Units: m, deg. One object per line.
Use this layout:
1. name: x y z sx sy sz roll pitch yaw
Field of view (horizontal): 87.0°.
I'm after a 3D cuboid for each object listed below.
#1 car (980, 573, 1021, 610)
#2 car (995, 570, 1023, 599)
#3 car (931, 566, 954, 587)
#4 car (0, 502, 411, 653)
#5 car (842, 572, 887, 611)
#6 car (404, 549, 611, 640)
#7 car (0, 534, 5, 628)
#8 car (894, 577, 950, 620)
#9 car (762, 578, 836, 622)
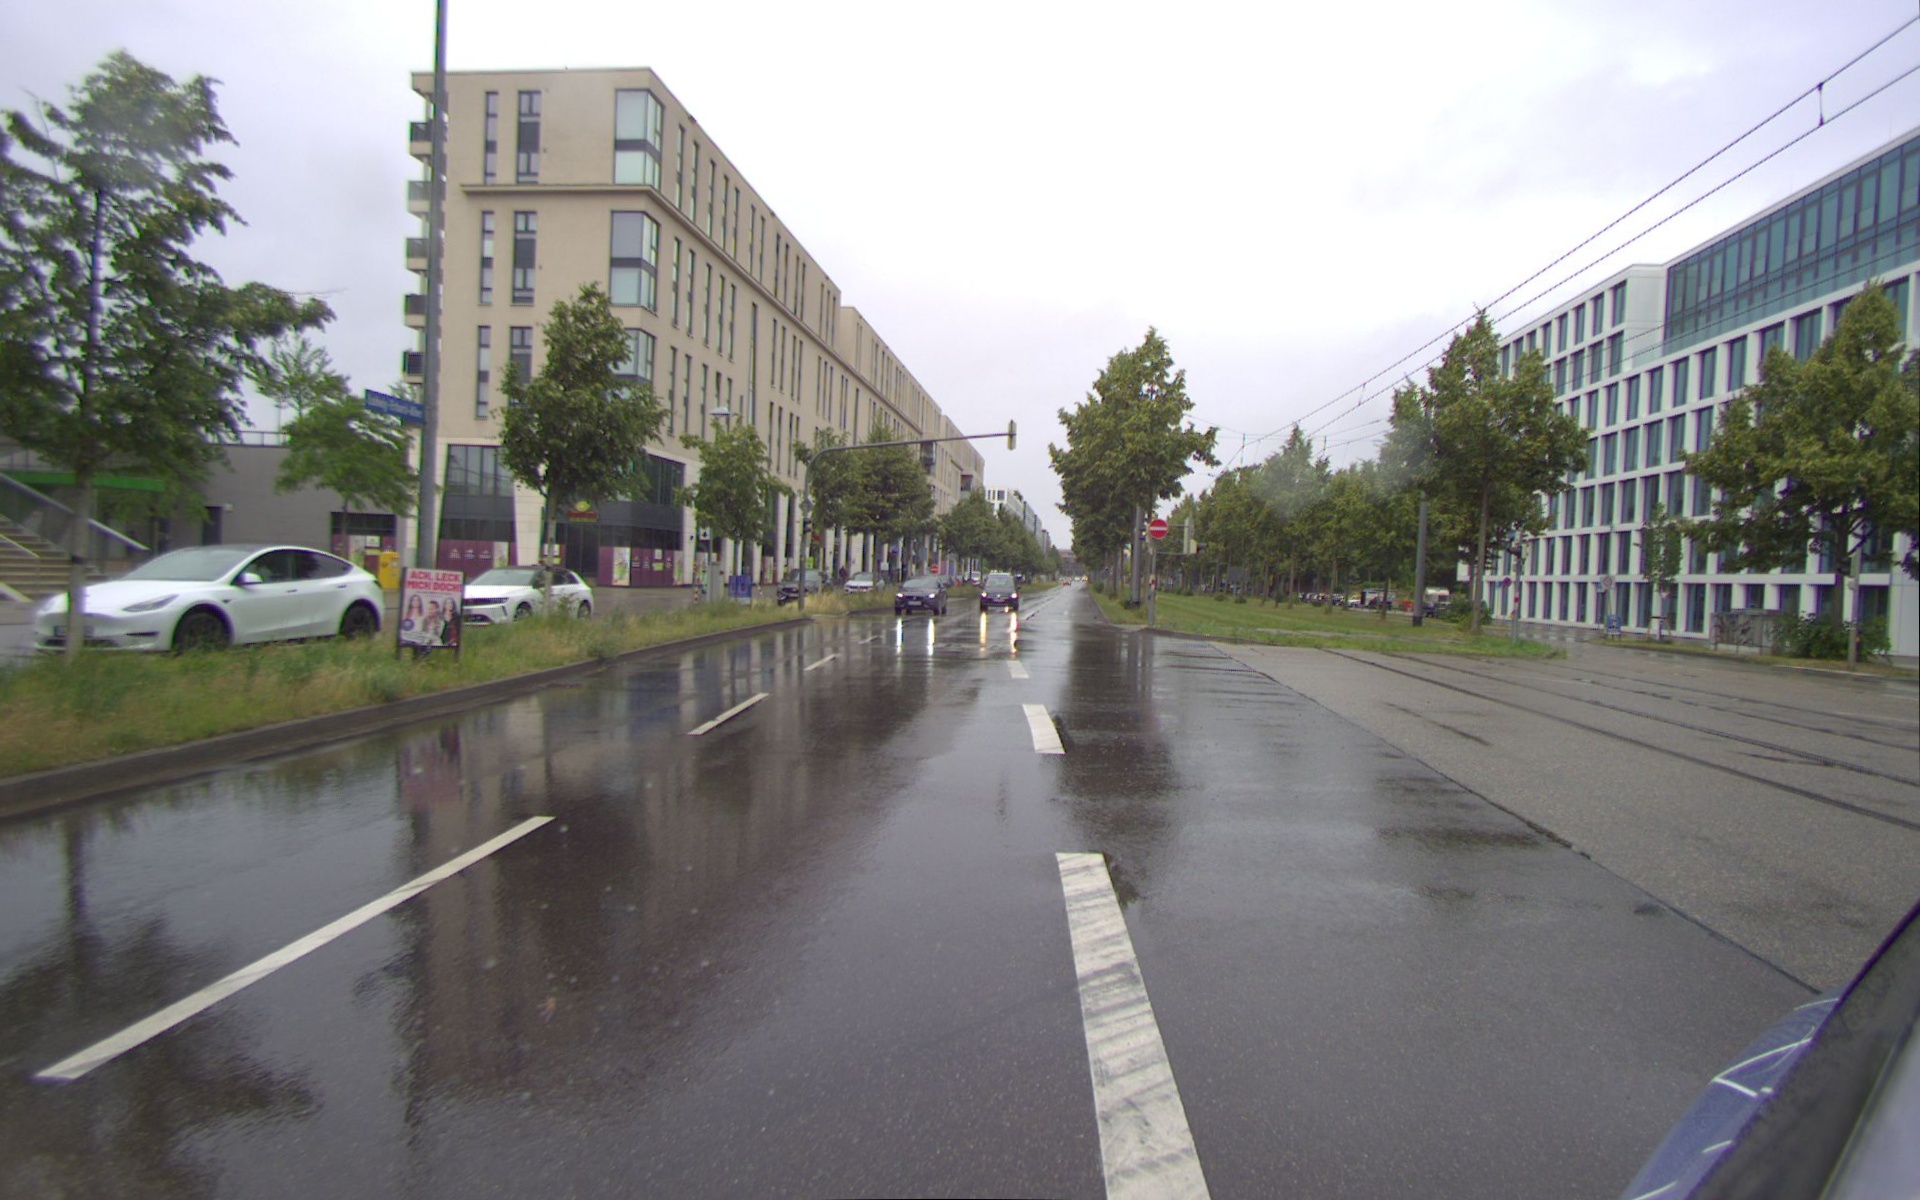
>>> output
1. car: 1.911 -0.350 46.642 1.629 1.549 3.769 3 0 6
2. car: 3.716 -1.133 76.218 1.729 1.950 3.991 3 0 7
3. car: -1.457 -2.013 86.376 1.614 1.608 3.926 3 0 3
4. car: -10.390 -0.254 14.529 1.966 1.729 4.829 3 0 6
5. car: -5.249 -0.446 56.072 1.881 2.039 3.997 3 0 2
6. car: -9.805 -0.092 22.469 1.966 1.729 4.829 3 0 6
7. car: -11.277 0.110 8.381 1.966 1.729 4.714 3 0 6
8. car: -1.438 -0.056 40.109 1.659 1.549 3.962 3 0 6
9. car: -6.953 0.031 44.250 1.966 1.729 4.829 3 0 6
